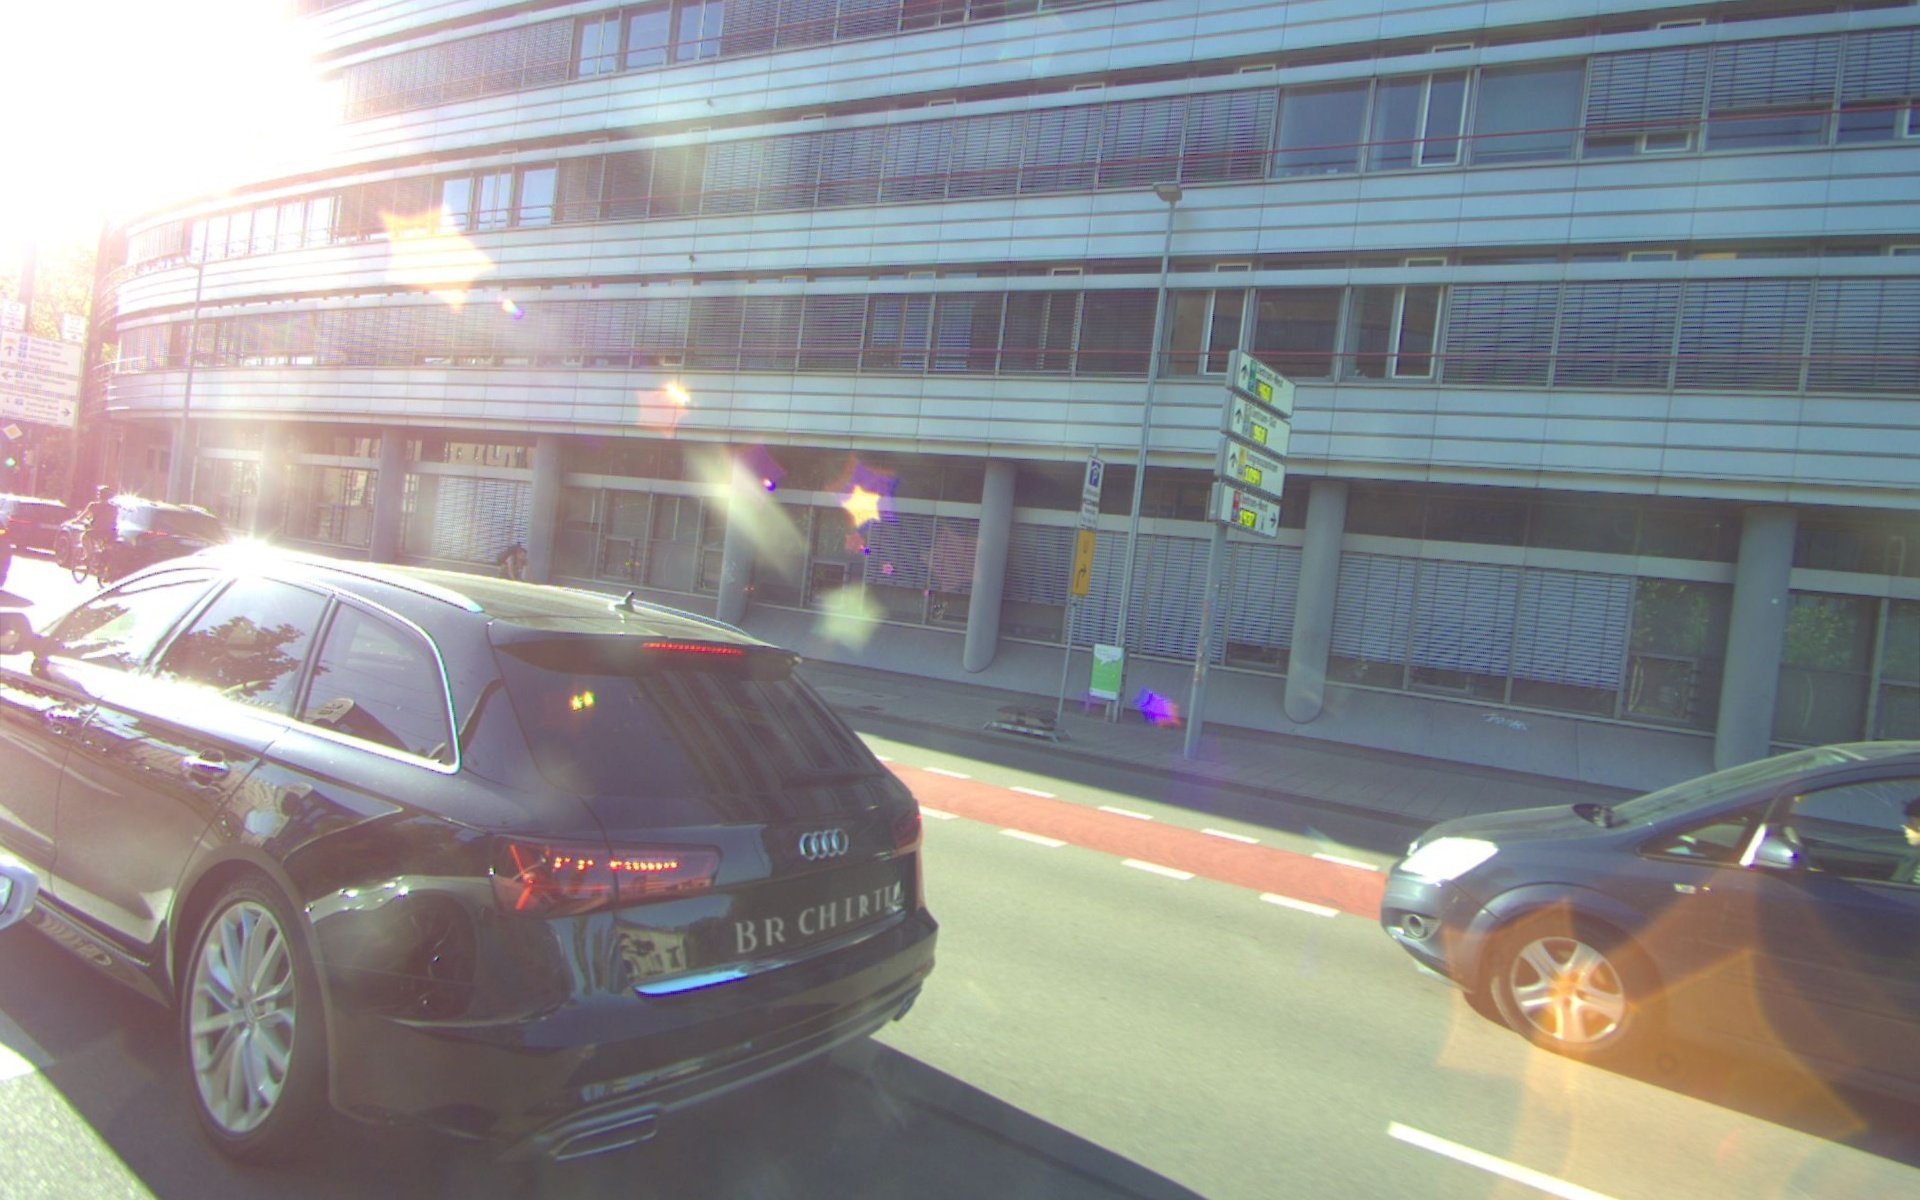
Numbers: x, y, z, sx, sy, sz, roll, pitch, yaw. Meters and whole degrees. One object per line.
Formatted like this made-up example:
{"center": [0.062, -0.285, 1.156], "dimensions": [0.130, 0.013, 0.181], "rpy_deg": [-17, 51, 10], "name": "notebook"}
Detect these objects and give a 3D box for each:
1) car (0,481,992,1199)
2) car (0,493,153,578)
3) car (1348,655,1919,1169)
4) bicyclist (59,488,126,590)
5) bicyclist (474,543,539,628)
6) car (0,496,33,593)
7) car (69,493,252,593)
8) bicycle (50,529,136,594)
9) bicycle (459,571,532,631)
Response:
{"center": [-2.315, 0.519, 3.813], "dimensions": [4.422, 1.509, 1.815], "rpy_deg": [7, -2, 32], "name": "car"}
{"center": [-22.527, -1.655, 25.562], "dimensions": [3.936, 1.671, 1.995], "rpy_deg": [7, 0, 35], "name": "car"}
{"center": [4.235, 1.363, 4.309], "dimensions": [4.392, 1.649, 1.689], "rpy_deg": [7, 0, 35], "name": "car"}
{"center": [-16.472, -1.151, 19.102], "dimensions": [0.849, 1.813, 0.578], "rpy_deg": [7, 1, 30], "name": "bicyclist"}
{"center": [-9.531, -0.302, 21.137], "dimensions": [0.975, 1.638, 0.684], "rpy_deg": [7, 1, 32], "name": "bicyclist"}
{"center": [-16.838, -1.130, 16.108], "dimensions": [3.933, 1.474, 1.811], "rpy_deg": [7, -1, 31], "name": "car"}
{"center": [-18.371, -1.319, 23.070], "dimensions": [4.259, 1.771, 1.995], "rpy_deg": [7, 0, 34], "name": "car"}
{"center": [-16.471, -0.744, 19.096], "dimensions": [2.289, 1.010, 0.492], "rpy_deg": [7, 1, 32], "name": "bicycle"}
{"center": [-9.642, 0.013, 20.874], "dimensions": [1.674, 1.072, 0.504], "rpy_deg": [6, 2, 33], "name": "bicycle"}
